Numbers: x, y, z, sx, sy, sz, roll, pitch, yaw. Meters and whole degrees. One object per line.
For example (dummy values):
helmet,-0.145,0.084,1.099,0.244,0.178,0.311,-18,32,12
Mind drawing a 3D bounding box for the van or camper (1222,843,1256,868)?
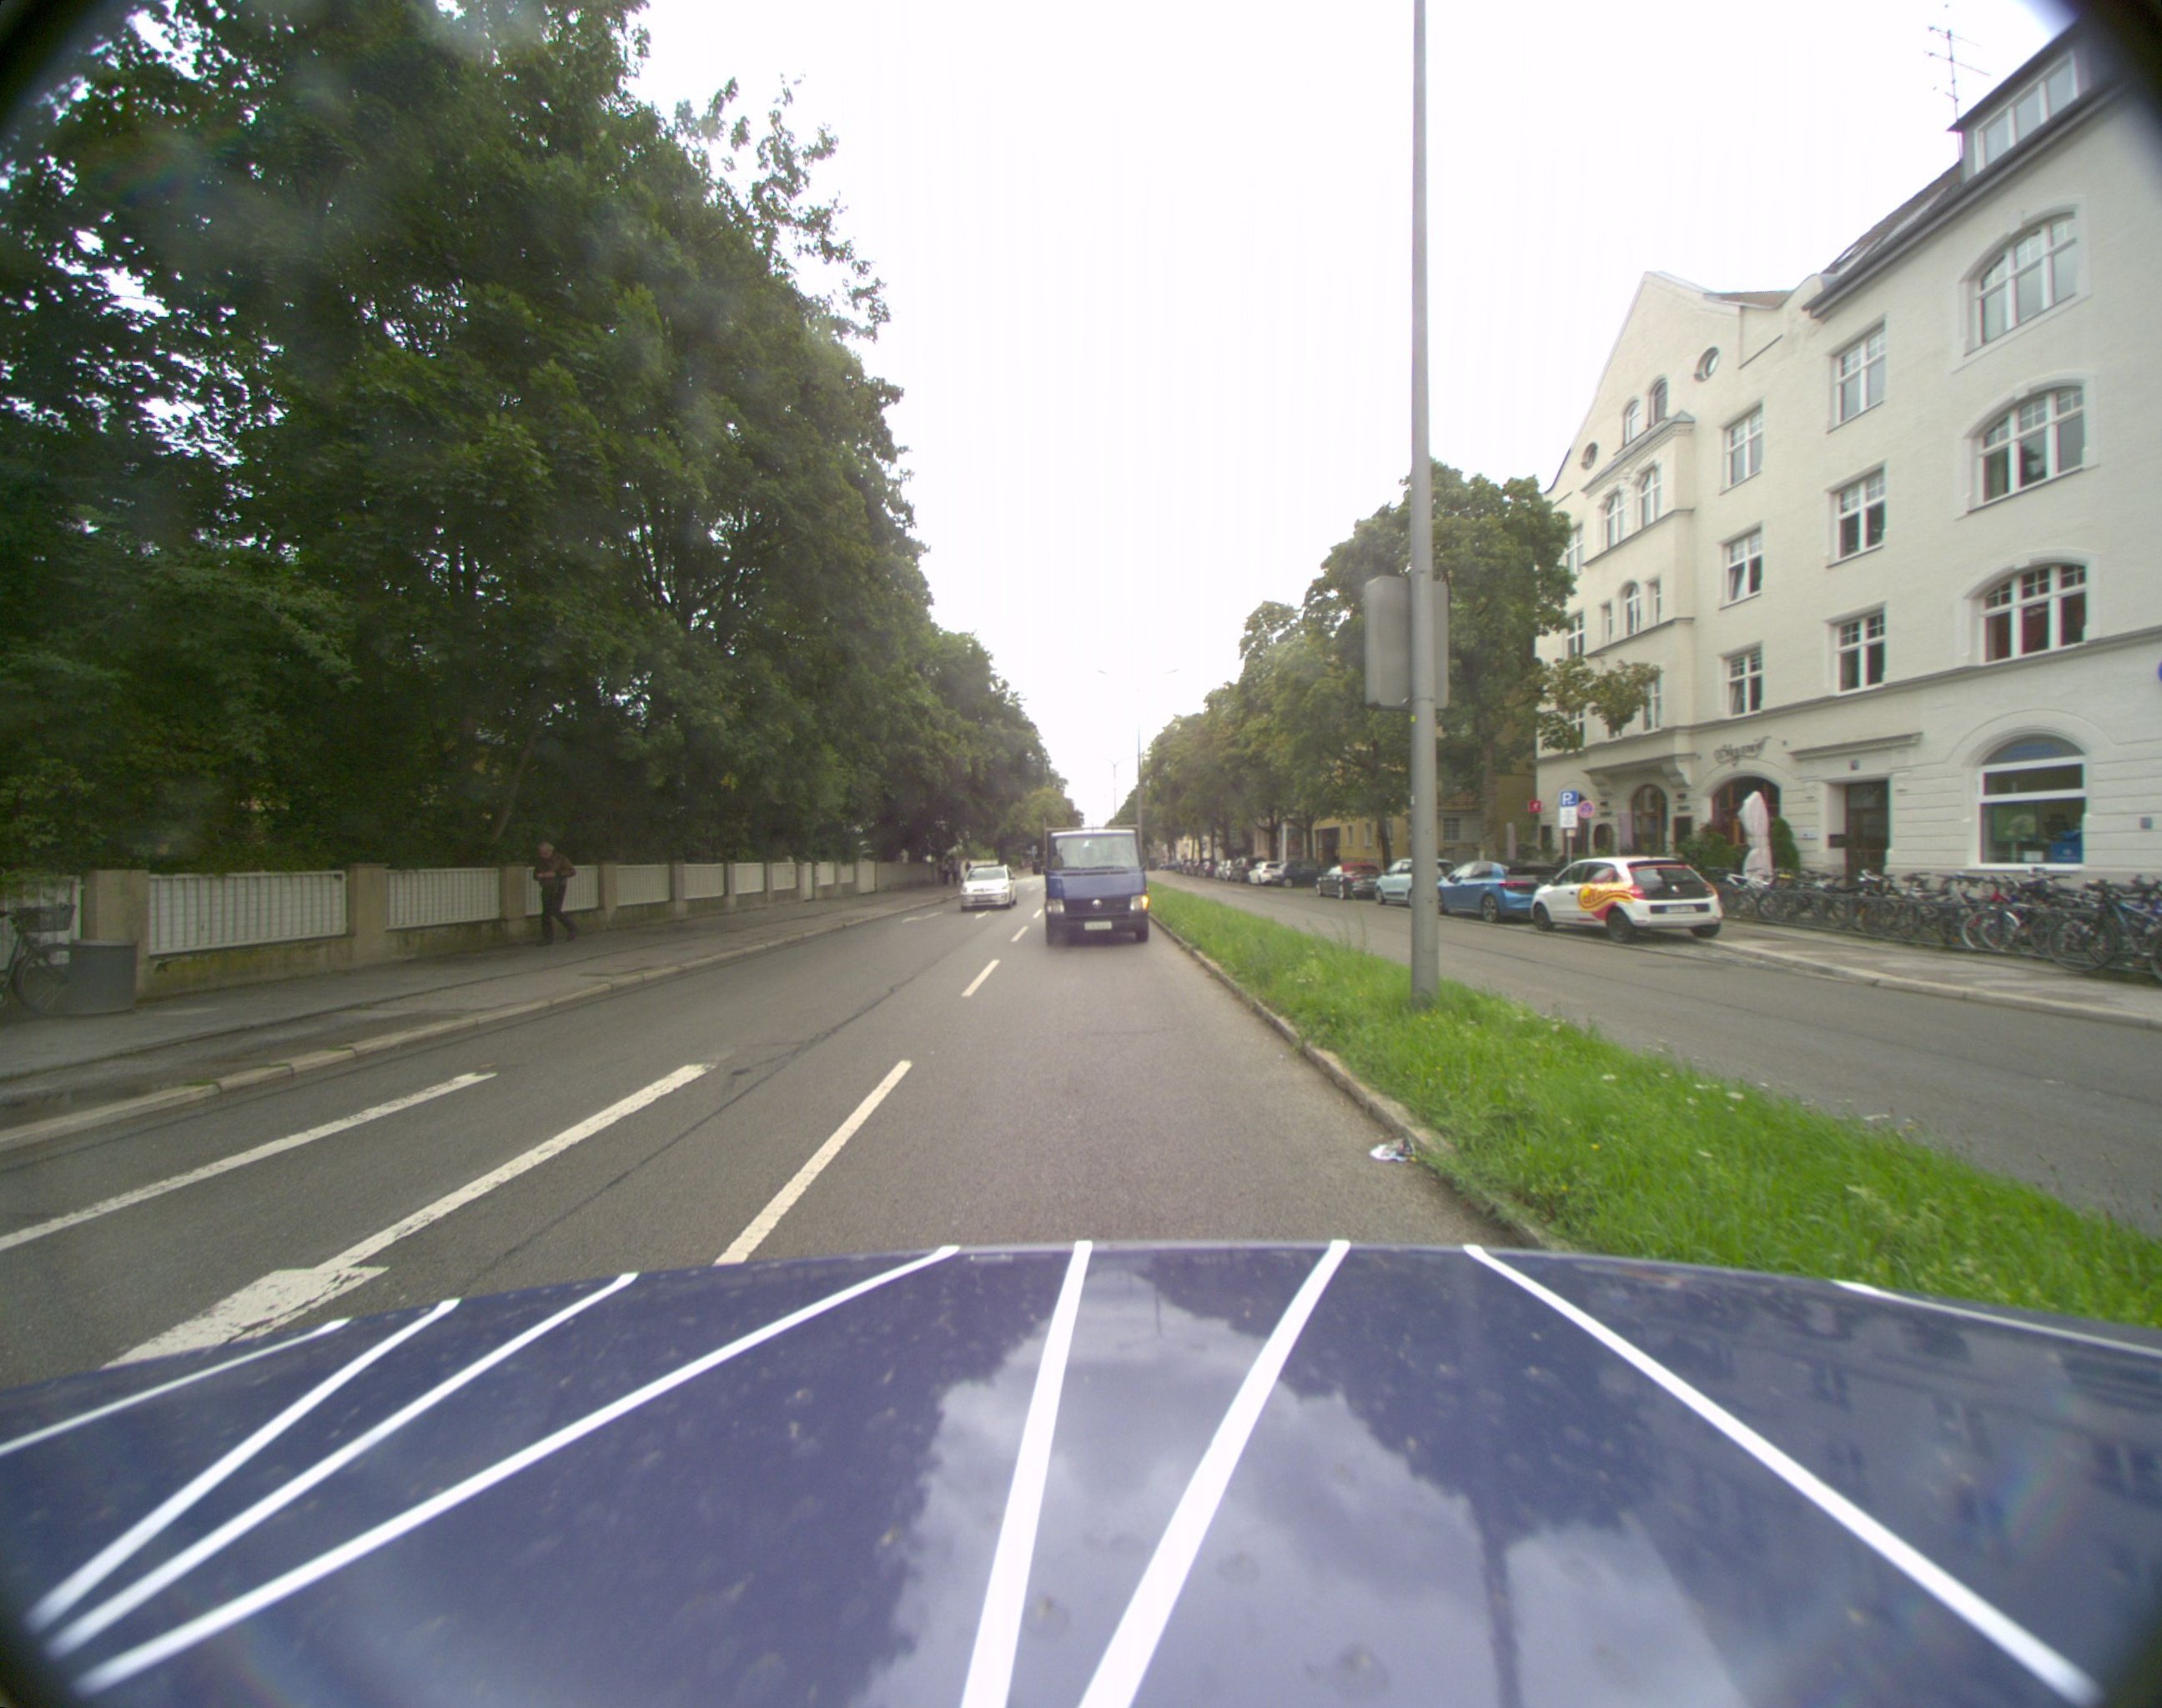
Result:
van or camper,17.170,0.173,83.108,2.351,2.564,6.851,-1,0,1

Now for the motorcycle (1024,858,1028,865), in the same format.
motorcycle,-8.807,1.158,121.225,0.497,1.135,1.631,-1,0,-10

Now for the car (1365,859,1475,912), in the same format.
car,10.791,0.944,24.493,1.815,1.498,3.960,-1,0,1

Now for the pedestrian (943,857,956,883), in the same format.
pedestrian,-8.457,1.026,48.895,0.668,1.695,0.766,1,0,0

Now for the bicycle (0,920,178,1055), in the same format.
bicycle,-9.845,1.237,6.988,0.624,1.084,2.026,-1,0,0

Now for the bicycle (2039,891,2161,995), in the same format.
bicycle,12.109,1.002,8.508,0.368,1.109,1.678,-1,0,-23

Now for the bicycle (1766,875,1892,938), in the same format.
bicycle,14.159,0.963,14.439,0.331,1.109,1.677,-1,0,-27

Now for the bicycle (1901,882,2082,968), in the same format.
bicycle,13.253,0.995,11.130,0.331,1.109,1.678,-1,0,-23

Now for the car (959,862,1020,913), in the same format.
car,-3.043,1.075,25.929,1.647,1.553,3.586,-1,0,0

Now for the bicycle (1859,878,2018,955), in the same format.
bicycle,13.750,0.961,12.245,0.331,1.109,1.678,-1,0,-23

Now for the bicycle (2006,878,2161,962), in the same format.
bicycle,14.776,0.927,11.035,0.331,1.109,1.678,-1,0,-23

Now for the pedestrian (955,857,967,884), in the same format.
pedestrian,-7.718,1.058,48.899,0.668,1.683,0.729,1,1,0

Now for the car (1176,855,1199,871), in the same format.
car,11.294,0.936,80.583,1.878,1.677,4.438,-1,0,1

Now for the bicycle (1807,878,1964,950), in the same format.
bicycle,13.829,0.990,13.141,0.331,1.109,1.871,-1,0,-23

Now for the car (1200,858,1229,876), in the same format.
car,11.174,1.097,63.715,1.731,1.397,4.363,-1,0,1

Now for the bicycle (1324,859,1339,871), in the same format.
bicycle,19.715,0.859,59.855,0.543,0.894,1.931,-1,0,0

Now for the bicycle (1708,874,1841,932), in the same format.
bicycle,14.476,0.989,15.925,0.505,1.109,1.984,-1,0,-31

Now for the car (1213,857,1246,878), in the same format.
car,11.470,1.032,58.890,1.731,1.552,4.057,-1,0,1

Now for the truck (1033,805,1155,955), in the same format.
truck,0.260,0.435,15.235,1.998,2.475,5.151,-1,0,1

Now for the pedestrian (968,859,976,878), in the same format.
pedestrian,-9.267,1.251,64.650,0.529,1.572,0.729,1,0,0

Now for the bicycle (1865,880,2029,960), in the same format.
bicycle,13.453,0.984,11.870,0.331,1.109,1.678,-1,0,-23

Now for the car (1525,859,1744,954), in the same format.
car,10.597,0.915,14.931,1.653,1.576,3.790,-1,0,2

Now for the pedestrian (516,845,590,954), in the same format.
pedestrian,-9.614,0.813,13.854,0.779,1.931,0.802,0,0,1

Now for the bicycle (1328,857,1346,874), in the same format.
bicycle,19.382,0.875,57.557,0.771,1.215,1.931,-1,0,0

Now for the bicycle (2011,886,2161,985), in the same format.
bicycle,12.659,0.972,9.234,0.367,1.109,1.678,-1,0,-23

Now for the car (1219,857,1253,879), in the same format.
car,11.129,0.983,54.632,1.731,1.548,3.009,-1,0,-1

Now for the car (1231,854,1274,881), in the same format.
car,11.247,0.847,50.235,1.815,1.718,4.767,-1,0,1

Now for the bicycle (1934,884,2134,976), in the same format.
bicycle,13.026,0.994,10.461,0.383,1.109,1.678,-1,0,-23

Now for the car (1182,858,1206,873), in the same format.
car,11.170,1.111,75.397,1.696,1.446,4.492,-1,0,1

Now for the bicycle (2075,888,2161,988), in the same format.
bicycle,12.536,0.970,8.511,0.331,1.109,1.678,-1,0,-23

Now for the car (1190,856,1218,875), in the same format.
car,11.195,1.014,69.450,1.883,1.636,4.770,-1,0,1

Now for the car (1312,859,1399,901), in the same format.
car,10.780,0.981,30.228,1.815,1.498,4.645,-1,0,1

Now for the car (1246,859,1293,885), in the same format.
car,10.996,1.033,44.589,1.731,1.394,4.404,-1,0,1

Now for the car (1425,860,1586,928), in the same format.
car,10.743,0.948,19.636,1.815,1.498,4.291,-1,0,1

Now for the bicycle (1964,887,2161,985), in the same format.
bicycle,12.847,1.024,9.934,0.331,1.109,1.678,-1,0,-23

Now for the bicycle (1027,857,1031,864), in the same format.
bicycle,-8.800,1.109,128.754,0.490,1.092,1.631,-1,0,-10

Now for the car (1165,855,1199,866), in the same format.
car,13.266,0.887,99.469,3.990,1.367,1.865,-1,-1,26

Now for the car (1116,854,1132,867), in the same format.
car,5.627,0.804,99.928,1.880,1.575,4.621,1,0,2

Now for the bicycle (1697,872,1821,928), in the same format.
bicycle,14.684,0.960,16.518,0.460,1.109,1.961,-1,0,-31

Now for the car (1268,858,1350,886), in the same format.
car,12.268,0.969,41.052,3.899,1.455,1.732,0,0,-1

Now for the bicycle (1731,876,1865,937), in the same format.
bicycle,14.289,1.010,15.203,0.550,1.109,1.877,-1,0,-31

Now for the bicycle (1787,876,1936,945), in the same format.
bicycle,14.016,0.976,13.719,0.331,1.109,1.871,-1,0,-23
